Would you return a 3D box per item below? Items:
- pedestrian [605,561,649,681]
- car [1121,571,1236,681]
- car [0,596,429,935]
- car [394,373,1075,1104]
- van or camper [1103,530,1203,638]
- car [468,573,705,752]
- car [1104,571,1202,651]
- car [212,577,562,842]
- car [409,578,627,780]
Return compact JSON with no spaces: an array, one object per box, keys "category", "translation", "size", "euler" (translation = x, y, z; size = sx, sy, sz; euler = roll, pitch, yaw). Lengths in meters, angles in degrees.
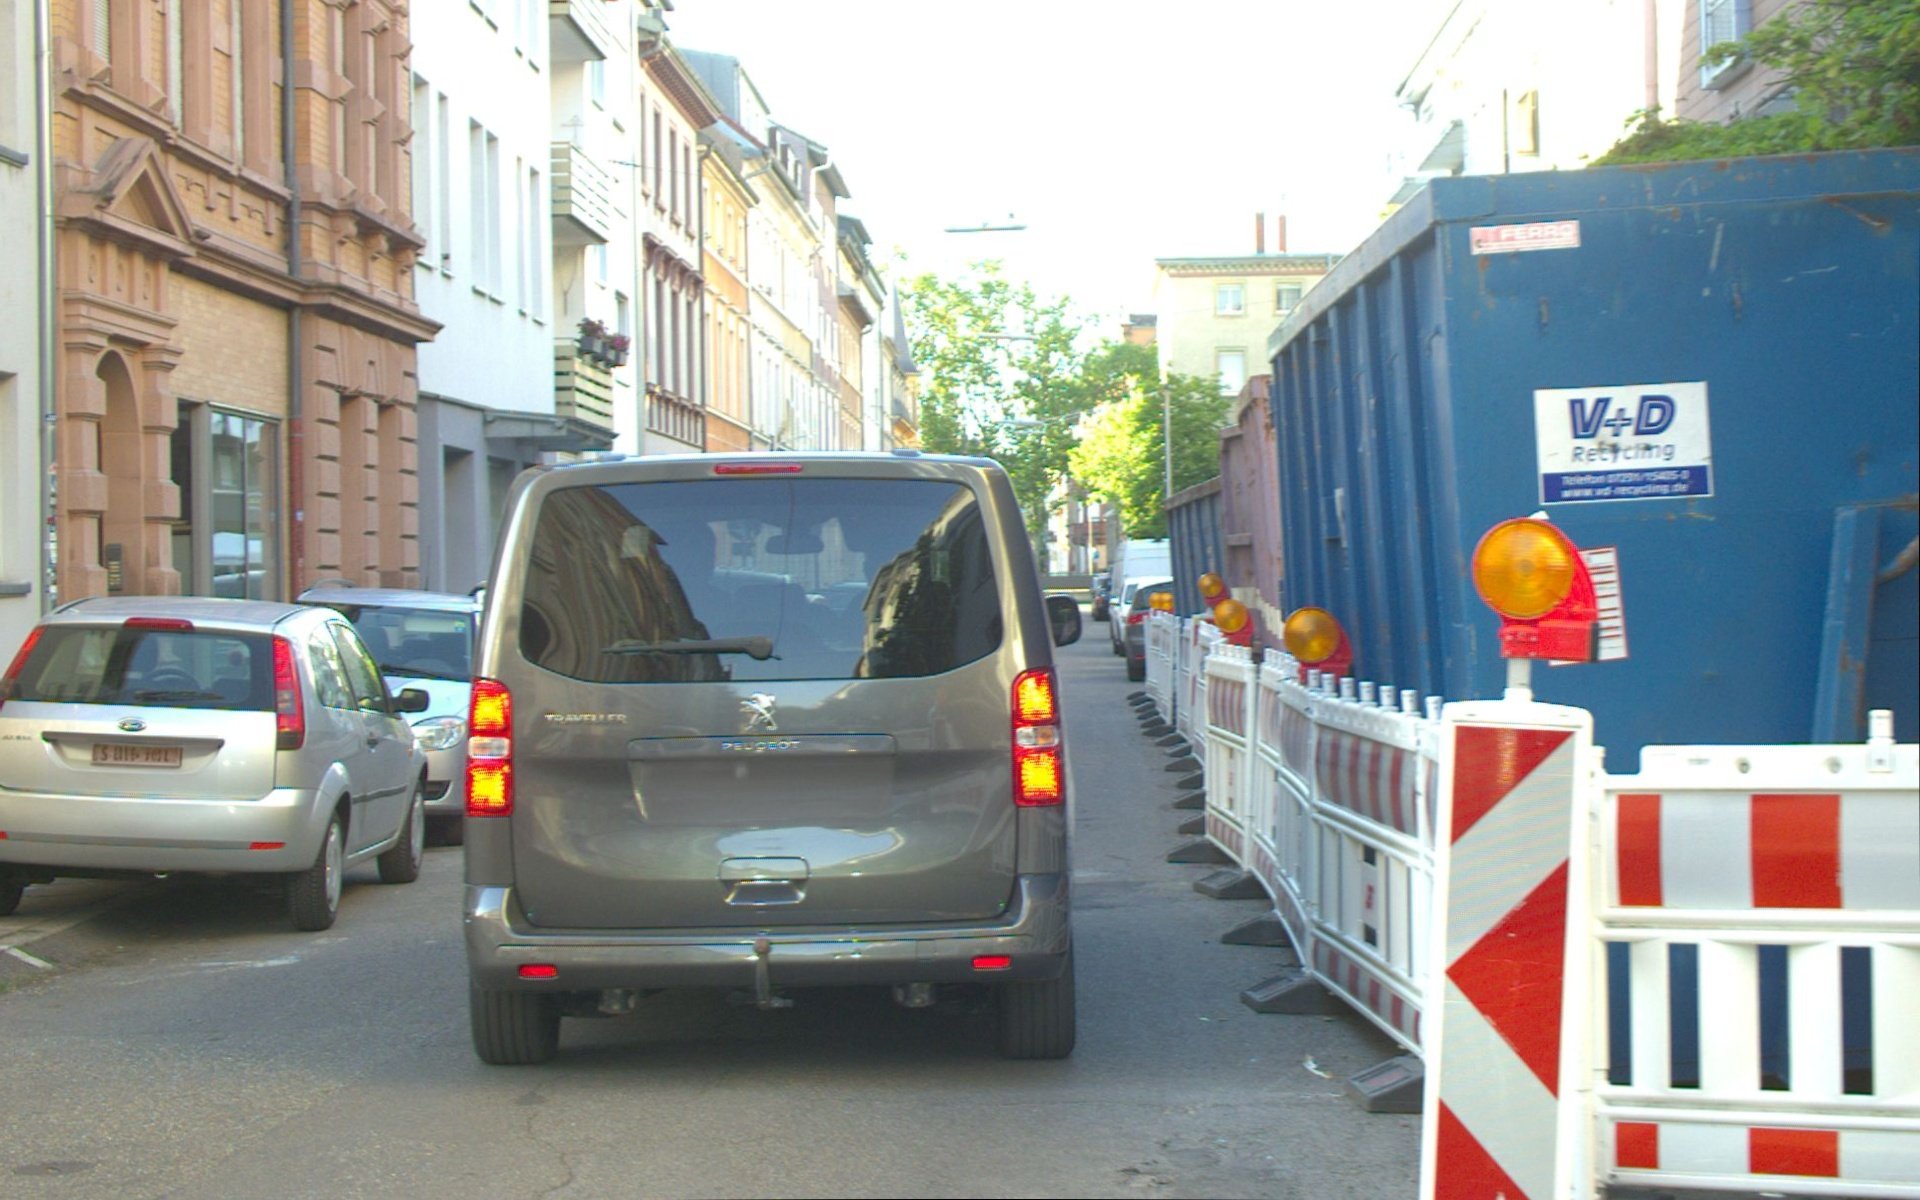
[{"category":"pedestrian","translation":[-4.565,0.282,47.145],"size":[0.495,1.633,0.665],"euler":[1,0,2]},{"category":"car","translation":[3.487,0.374,54.935],"size":[1.749,1.677,4.525],"euler":[0,1,4]},{"category":"car","translation":[-3.646,0.707,16.494],"size":[1.632,1.425,3.555],"euler":[0,0,0]},{"category":"car","translation":[-0.612,0.376,11.782],"size":[1.857,2.007,4.000],"euler":[-2,1,1]},{"category":"van or camper","translation":[4.900,-0.422,88.223],"size":[2.099,2.593,7.512],"euler":[-2,0,0]},{"category":"car","translation":[-3.472,0.543,32.607],"size":[1.740,1.594,4.014],"euler":[0,0,1]},{"category":"car","translation":[4.012,0.214,72.169],"size":[1.722,1.606,4.589],"euler":[-1,0,-1]},{"category":"car","translation":[-3.590,0.634,22.084],"size":[1.555,1.503,3.597],"euler":[2,0,1]},{"category":"car","translation":[-3.616,0.613,28.459],"size":[1.396,1.583,2.794],"euler":[0,0,1]}]
